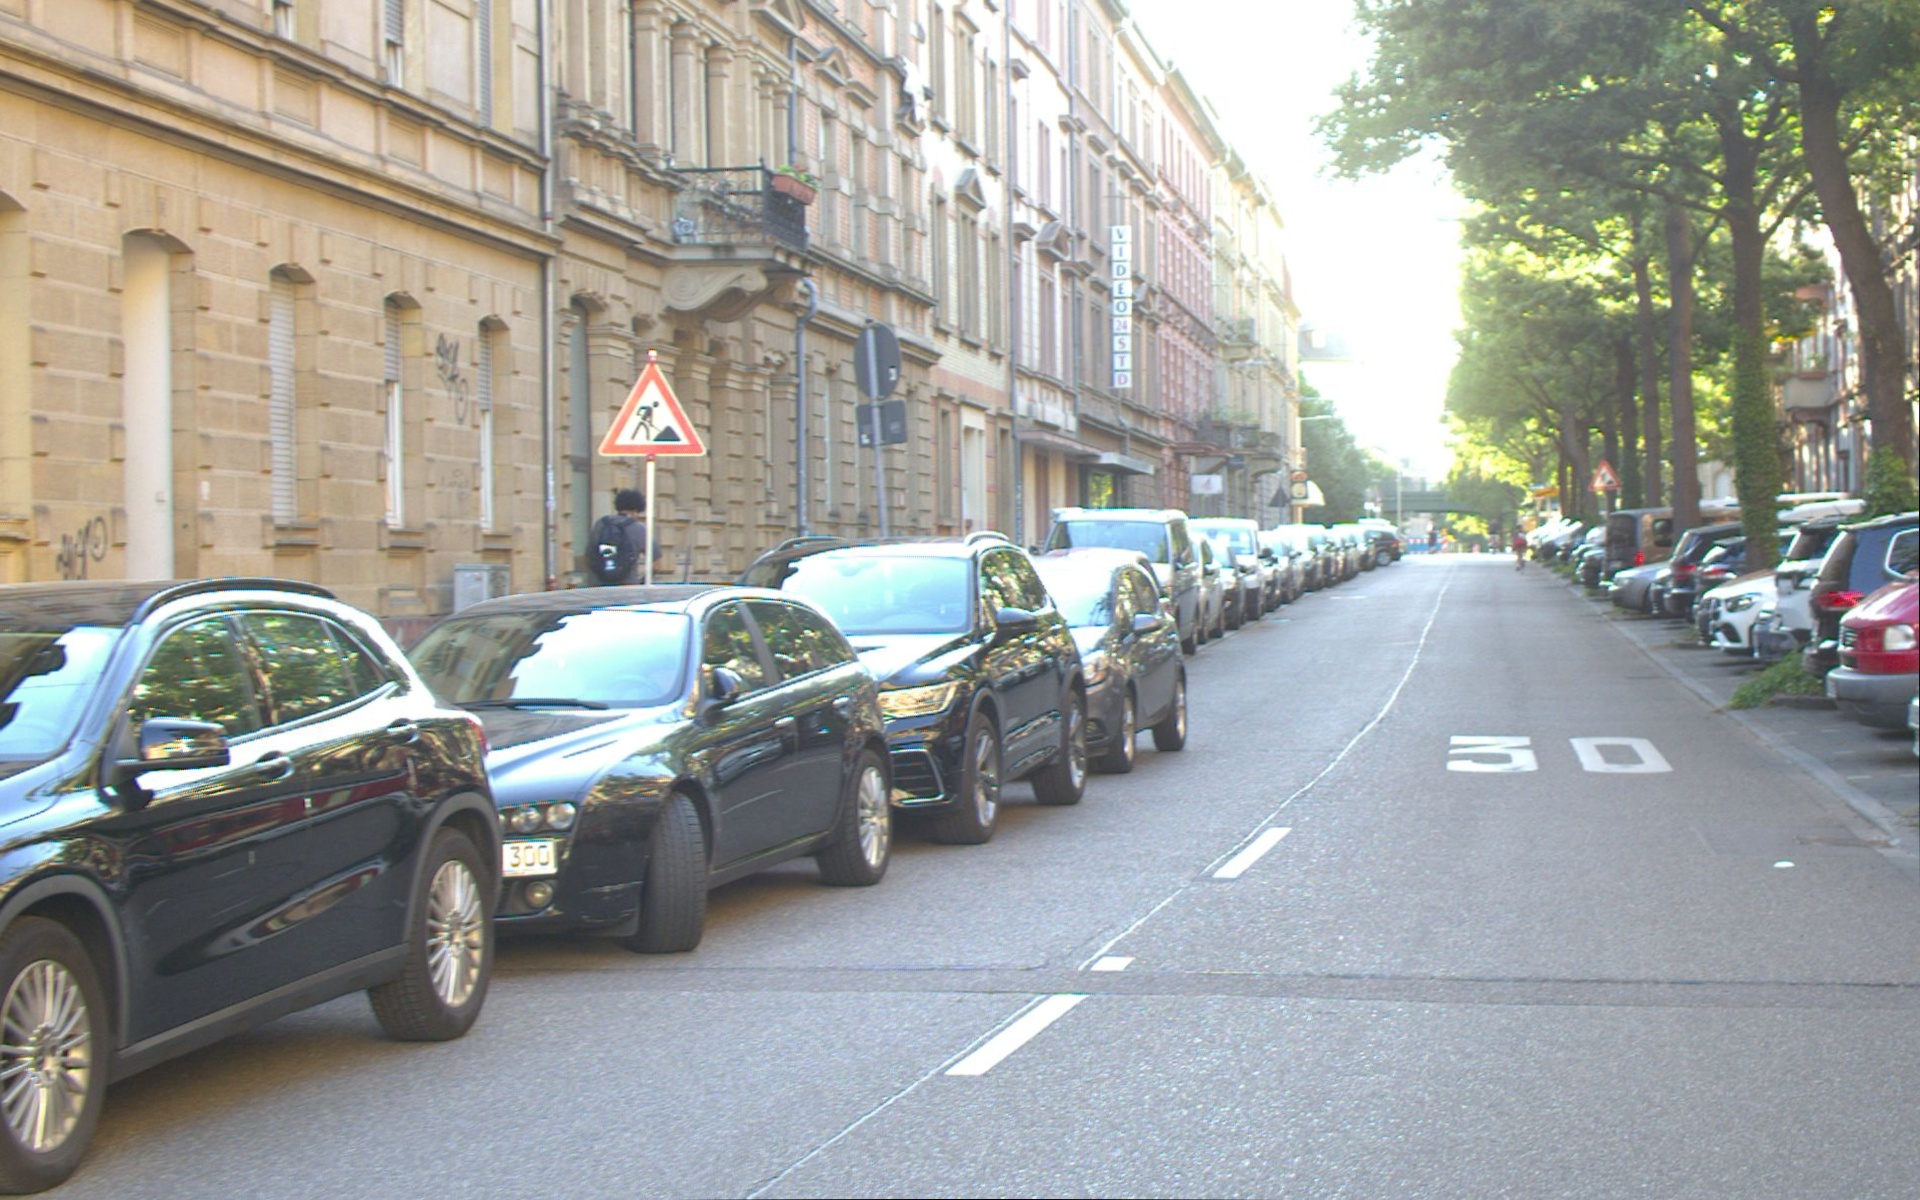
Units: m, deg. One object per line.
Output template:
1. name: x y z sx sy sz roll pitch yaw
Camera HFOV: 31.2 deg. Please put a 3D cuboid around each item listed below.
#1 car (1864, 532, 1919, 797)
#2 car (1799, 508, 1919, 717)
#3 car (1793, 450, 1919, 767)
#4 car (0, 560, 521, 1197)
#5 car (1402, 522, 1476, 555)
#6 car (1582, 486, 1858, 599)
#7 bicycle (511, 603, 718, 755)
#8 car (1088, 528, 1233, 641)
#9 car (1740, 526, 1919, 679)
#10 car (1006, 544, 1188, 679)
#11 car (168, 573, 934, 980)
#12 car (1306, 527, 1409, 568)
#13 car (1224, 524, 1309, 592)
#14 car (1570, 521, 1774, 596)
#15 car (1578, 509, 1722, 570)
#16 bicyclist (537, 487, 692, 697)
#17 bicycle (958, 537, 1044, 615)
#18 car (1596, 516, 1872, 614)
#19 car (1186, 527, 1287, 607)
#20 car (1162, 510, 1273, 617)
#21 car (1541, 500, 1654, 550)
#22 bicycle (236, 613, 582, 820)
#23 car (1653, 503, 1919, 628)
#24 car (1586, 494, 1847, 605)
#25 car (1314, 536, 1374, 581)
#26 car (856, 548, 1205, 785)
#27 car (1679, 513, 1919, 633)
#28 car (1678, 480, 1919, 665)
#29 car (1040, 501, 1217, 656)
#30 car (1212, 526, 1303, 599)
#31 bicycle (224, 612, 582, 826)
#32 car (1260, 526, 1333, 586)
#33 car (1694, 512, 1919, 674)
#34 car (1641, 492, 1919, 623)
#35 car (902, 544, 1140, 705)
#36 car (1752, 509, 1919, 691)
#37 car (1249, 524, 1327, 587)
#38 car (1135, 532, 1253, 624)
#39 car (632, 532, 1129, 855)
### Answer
1. car: 7.525 0.256 20.150 4.055 1.505 1.878 -3 0 9
2. car: 9.022 0.004 27.873 4.188 1.622 1.836 -3 0 12
3. car: 8.114 -0.057 22.923 4.676 2.026 1.878 -3 0 6
4. car: -2.810 0.665 9.697 1.759 1.482 4.136 -2 0 13
5. car: 27.852 -3.571 199.871 3.990 1.853 1.750 0 1 17
6. car: 14.749 -1.122 66.932 5.058 1.919 1.834 -3 1 9
7. bicycle: -3.014 0.668 30.381 0.996 1.154 2.922 -2 2 11
8. car: 3.058 -0.269 51.732 1.754 1.603 4.382 1 1 9
9. car: 10.126 -0.062 35.092 4.011 1.429 1.794 -4 0 8
10. car: 1.650 0.096 40.320 1.593 1.470 3.698 1 1 11
11. car: -1.556 0.651 14.957 1.759 1.447 4.547 -2 0 14
12. car: 15.328 -2.020 132.375 1.998 1.481 3.990 -2 -1 41
13. car: 7.052 -0.987 78.842 1.759 1.468 4.058 -1 1 7
14. car: 14.442 -0.848 69.882 3.851 1.289 1.718 -3 1 6
15. car: 20.331 -1.785 101.357 3.850 1.568 1.718 -3 1 1
16. bicyclist: -3.045 -0.087 30.375 0.996 1.783 1.207 -2 2 11
17. bicycle: 0.755 -0.454 61.430 1.042 1.314 3.999 0 1 8
18. car: 12.956 -0.592 57.737 4.221 1.398 1.835 -3 1 4
19. car: 5.495 -0.681 67.989 1.759 1.468 4.058 -1 1 7
20. car: 4.757 -0.704 62.991 1.759 1.835 4.529 -1 1 7
21. car: 22.896 -2.707 123.598 3.851 1.568 1.717 -3 1 8
22. bicycle: -3.118 0.648 19.471 1.868 1.124 0.528 0 1 11
23. car: 12.161 -0.510 49.817 4.011 1.601 1.733 -3 0 9
24. car: 13.906 -0.929 63.287 4.220 1.789 1.835 -3 1 -11
25. car: 13.635 -1.455 121.992 1.994 1.481 3.999 -1 -1 8
26. car: 0.603 0.417 24.877 1.759 1.496 4.058 -2 1 12
27. car: 12.031 -0.398 47.344 4.011 1.462 1.733 -3 0 9
28. car: 10.752 -0.393 39.983 4.445 1.917 1.850 -4 2 6
29. car: 2.316 -0.342 46.015 1.832 1.936 5.258 1 1 9
30. car: 6.427 -0.833 74.015 1.759 1.468 4.058 -1 1 7
31. bicycle: -3.046 0.638 18.821 1.868 1.124 0.528 0 1 11
32. car: 8.802 -1.153 89.716 1.759 1.468 4.058 -1 1 7
33. car: 10.322 -0.155 37.461 4.345 1.551 1.850 -4 2 8
34. car: 12.671 -0.661 52.637 4.222 1.770 1.835 -3 1 8
35. car: 0.696 0.212 35.849 1.759 1.496 4.058 -2 1 11
36. car: 9.703 -0.075 32.676 4.011 1.622 1.804 -3 0 7
37. car: 8.129 -1.111 84.999 1.759 1.468 4.058 -1 1 7
38. car: 3.995 -0.405 58.188 1.759 1.462 3.999 1 2 7
39. car: -0.313 0.445 19.872 1.759 1.594 4.548 -2 1 13
